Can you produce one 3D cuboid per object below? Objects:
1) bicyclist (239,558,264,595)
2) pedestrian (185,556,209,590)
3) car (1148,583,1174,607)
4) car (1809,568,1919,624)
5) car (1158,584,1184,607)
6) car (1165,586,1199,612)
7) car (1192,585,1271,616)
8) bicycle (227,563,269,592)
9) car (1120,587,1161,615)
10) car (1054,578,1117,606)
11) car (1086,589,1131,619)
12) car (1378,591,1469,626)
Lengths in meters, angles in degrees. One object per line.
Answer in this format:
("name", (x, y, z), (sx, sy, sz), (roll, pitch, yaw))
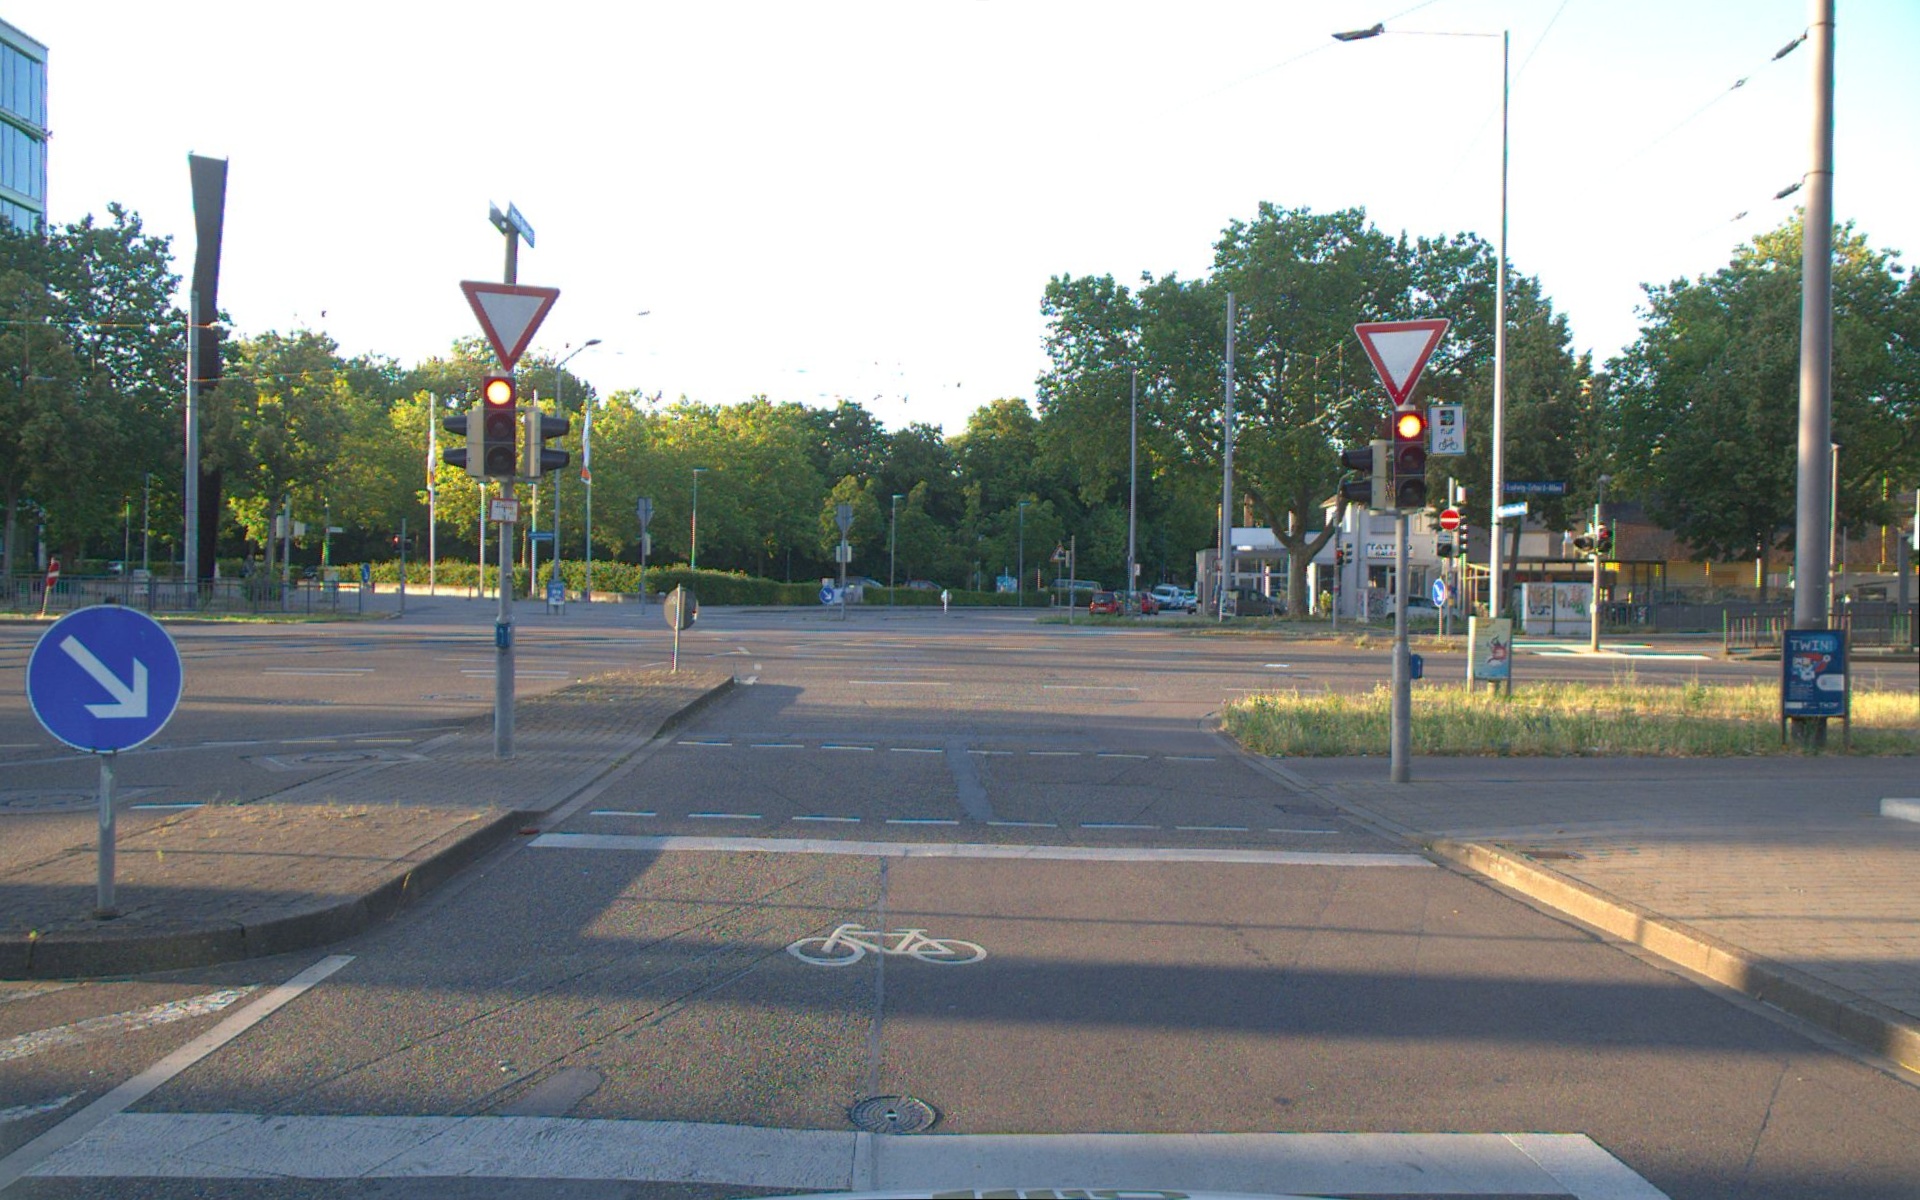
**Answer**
("bicyclist", (-33.638, -1.138, 78.535), (0.903, 1.739, 0.749), (1, 0, 40))
("pedestrian", (-40.675, -1.444, 88.185), (0.844, 1.774, 0.829), (1, 0, 29))
("car", (16.009, -0.356, 131.423), (1.823, 1.825, 4.003), (1, -1, 10))
("car", (43.713, -0.198, 78.658), (5.476, 2.596, 2.231), (1, 0, 7))
("car", (17.418, -0.345, 136.338), (1.823, 1.825, 4.003), (1, -1, 12))
("car", (15.564, -0.056, 115.820), (1.951, 1.691, 4.003), (0, -1, 14))
("car", (14.661, 0.033, 89.374), (4.129, 1.579, 2.001), (1, -1, 7))
("bicycle", (-33.922, -1.072, 78.752), (2.641, 1.364, 0.728), (1, 1, 40))
("car", (11.327, 0.102, 103.528), (1.951, 1.691, 4.003), (0, -1, 14))
("car", (9.518, -0.583, 126.013), (4.675, 2.041, 2.000), (1, -1, 1))
("car", (8.629, 0.228, 95.799), (1.951, 1.691, 4.003), (0, -1, 14))
("car", (20.307, 0.376, 72.531), (3.659, 1.465, 1.665), (1, -1, 9))
